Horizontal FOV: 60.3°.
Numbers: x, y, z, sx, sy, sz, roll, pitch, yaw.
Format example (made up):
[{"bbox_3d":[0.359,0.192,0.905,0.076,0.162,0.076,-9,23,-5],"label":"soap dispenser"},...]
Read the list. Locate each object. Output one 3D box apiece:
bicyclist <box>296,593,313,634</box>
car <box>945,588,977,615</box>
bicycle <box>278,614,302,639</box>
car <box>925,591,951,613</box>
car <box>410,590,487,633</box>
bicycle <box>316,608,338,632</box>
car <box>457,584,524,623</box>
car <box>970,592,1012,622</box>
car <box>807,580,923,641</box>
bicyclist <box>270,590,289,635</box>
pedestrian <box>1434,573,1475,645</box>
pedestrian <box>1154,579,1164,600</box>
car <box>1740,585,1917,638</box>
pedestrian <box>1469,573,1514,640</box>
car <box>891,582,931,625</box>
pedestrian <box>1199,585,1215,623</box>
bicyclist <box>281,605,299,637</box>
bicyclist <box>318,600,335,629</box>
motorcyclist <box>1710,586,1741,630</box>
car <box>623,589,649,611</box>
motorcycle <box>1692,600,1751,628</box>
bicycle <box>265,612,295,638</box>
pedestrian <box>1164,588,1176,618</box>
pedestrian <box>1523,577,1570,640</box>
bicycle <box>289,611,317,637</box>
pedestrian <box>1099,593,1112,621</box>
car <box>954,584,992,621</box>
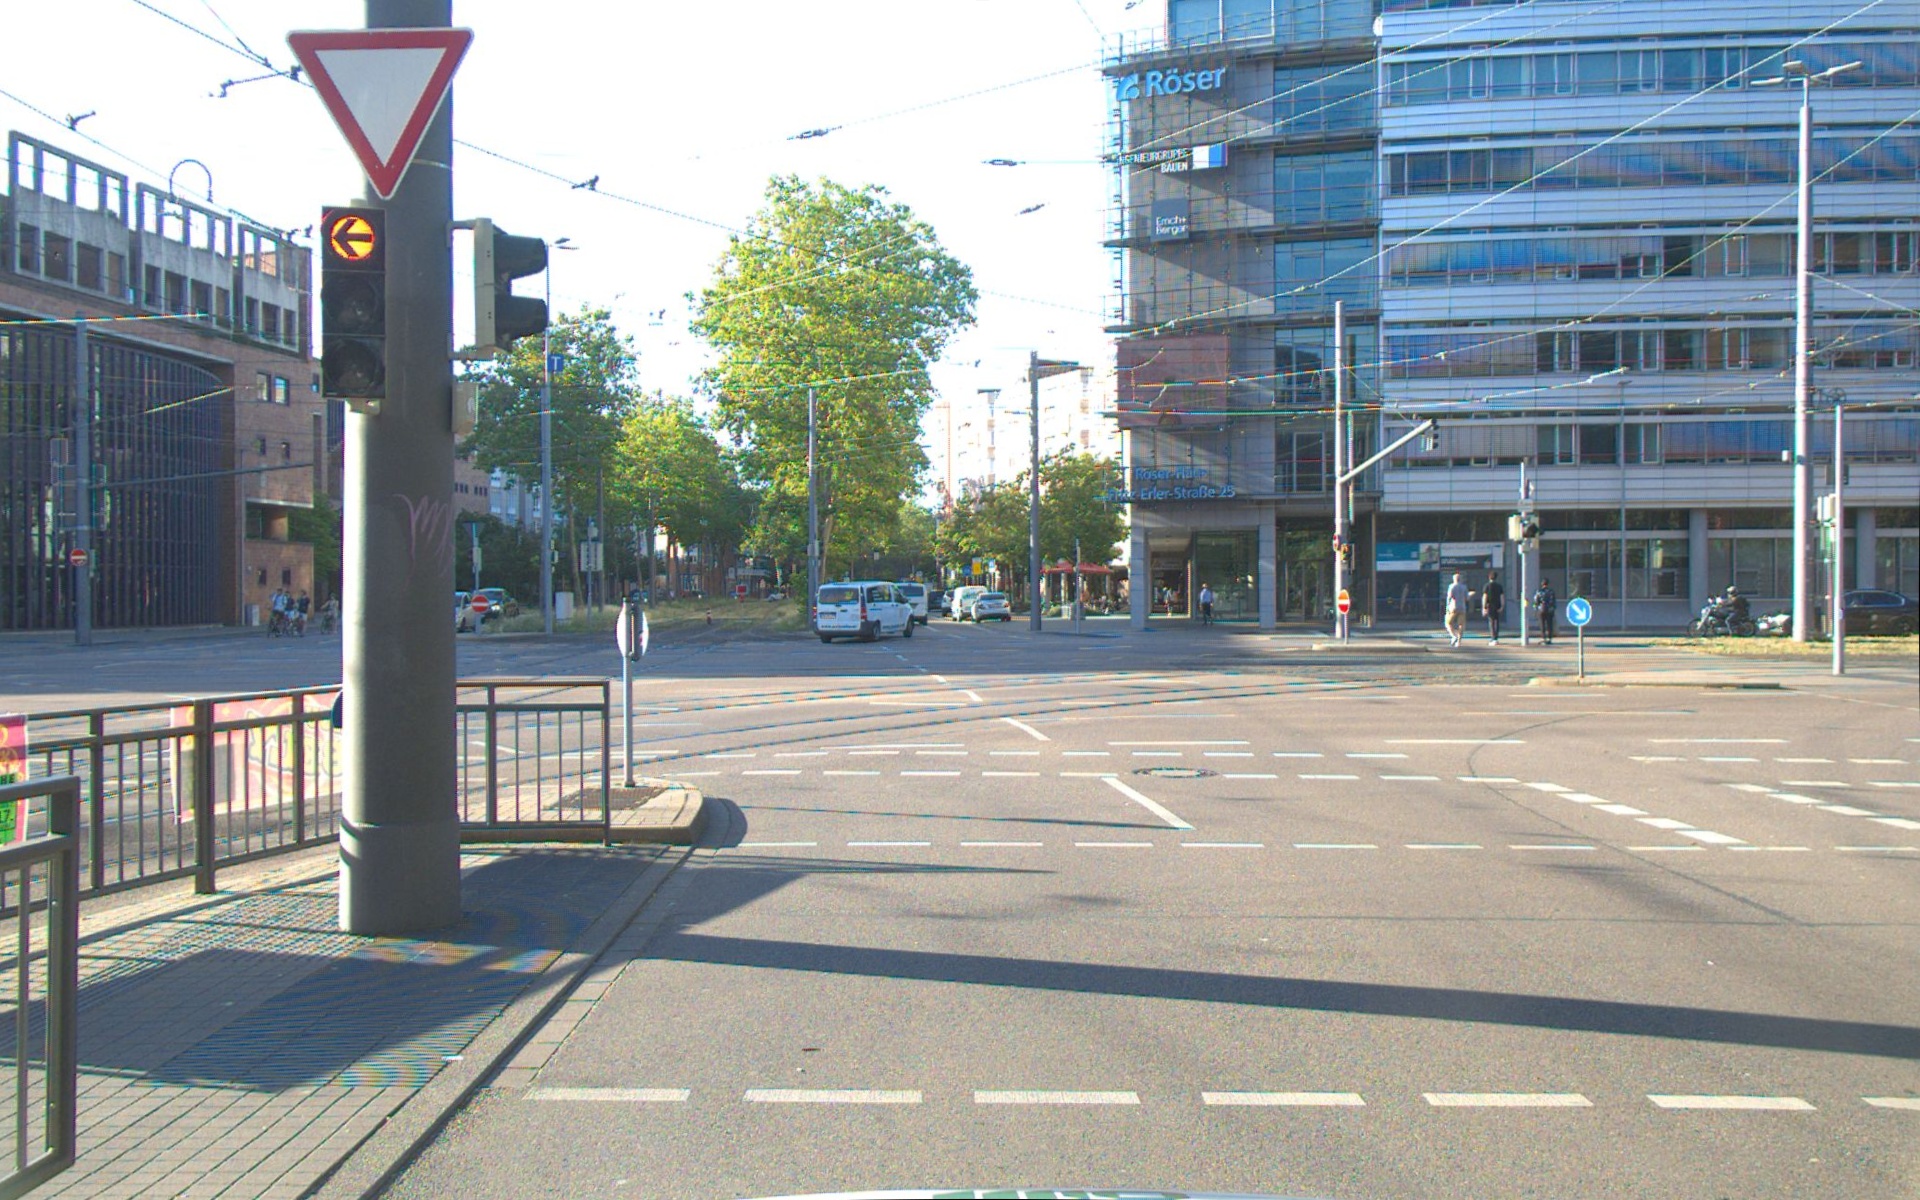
[{"bbox_3d":[-25.914,0.529,65.394,0.449,1.631,0.581,-1,0,-1],"label":"bicyclist"},{"bbox_3d":[0.035,0.071,105.207,1.953,1.646,3.999,-1,0,-1],"label":"car"},{"bbox_3d":[-27.606,1.077,68.197,0.458,0.980,1.320,-1,0,-1],"label":"bicycle"},{"bbox_3d":[-1.682,0.132,126.630,1.953,1.646,3.999,-1,0,-1],"label":"car"},{"bbox_3d":[-20.667,0.447,67.031,1.953,1.668,3.999,-1,0,-2],"label":"car"},{"bbox_3d":[-27.124,0.862,70.852,0.442,0.980,1.347,-1,0,-1],"label":"bicycle"},{"bbox_3d":[-21.121,0.147,74.590,1.953,1.668,3.999,-1,0,-2],"label":"car"},{"bbox_3d":[1.536,0.338,82.785,1.953,1.400,3.999,-1,0,-1],"label":"car"},{"bbox_3d":[-2.996,0.302,53.571,1.920,1.881,5.332,-1,0,18],"label":"car"},{"bbox_3d":[-26.792,0.475,65.116,0.525,1.761,0.581,-1,0,-1],"label":"bicyclist"},{"bbox_3d":[12.718,0.226,42.506,0.847,1.820,0.870,-1,0,28],"label":"pedestrian"},{"bbox_3d":[16.103,-0.855,134.009,0.729,1.744,0.612,-1,0,-1],"label":"pedestrian"},{"bbox_3d":[24.591,0.322,46.942,4.070,1.423,1.786,-1,0,4],"label":"car"},{"bbox_3d":[13.889,0.170,43.239,0.893,1.714,1.036,-1,0,6],"label":"pedestrian"},{"bbox_3d":[-2.234,0.132,75.336,1.720,1.899,4.524,-1,0,-2],"label":"car"},{"bbox_3d":[9.829,0.155,65.817,0.599,1.534,0.579,-1,0,5],"label":"pedestrian"},{"bbox_3d":[-27.620,0.863,68.214,0.495,1.327,0.581,-1,0,-1],"label":"bicyclist"},{"bbox_3d":[-27.140,0.625,70.814,0.495,1.199,0.581,-1,0,-1],"label":"bicyclist"},{"bbox_3d":[23.038,0.239,49.771,0.697,1.298,0.460,-1,0,3],"label":"motorcyclist"},{"bbox_3d":[-32.259,-0.012,164.790,1.954,2.049,3.997,-1,0,-3],"label":"car"},{"bbox_3d":[22.912,0.410,49.772,1.535,0.824,0.467,-1,0,3],"label":"motorcycle"},{"bbox_3d":[-26.795,0.970,65.214,0.531,0.980,1.586,-1,0,-1],"label":"bicycle"},{"bbox_3d":[10.883,0.144,85.880,0.599,1.534,0.579,-1,0,7],"label":"pedestrian"},{"bbox_3d":[15.112,0.205,42.630,0.928,1.591,0.897,-1,0,6],"label":"pedestrian"},{"bbox_3d":[-25.909,0.954,65.255,0.463,0.980,1.575,-1,0,-1],"label":"bicycle"},{"bbox_3d":[9.268,0.463,105.146,0.729,1.744,0.612,-1,0,-1],"label":"pedestrian"},{"bbox_3d":[0.687,0.117,89.570,1.953,1.892,3.999,-1,0,-1],"label":"car"}]
